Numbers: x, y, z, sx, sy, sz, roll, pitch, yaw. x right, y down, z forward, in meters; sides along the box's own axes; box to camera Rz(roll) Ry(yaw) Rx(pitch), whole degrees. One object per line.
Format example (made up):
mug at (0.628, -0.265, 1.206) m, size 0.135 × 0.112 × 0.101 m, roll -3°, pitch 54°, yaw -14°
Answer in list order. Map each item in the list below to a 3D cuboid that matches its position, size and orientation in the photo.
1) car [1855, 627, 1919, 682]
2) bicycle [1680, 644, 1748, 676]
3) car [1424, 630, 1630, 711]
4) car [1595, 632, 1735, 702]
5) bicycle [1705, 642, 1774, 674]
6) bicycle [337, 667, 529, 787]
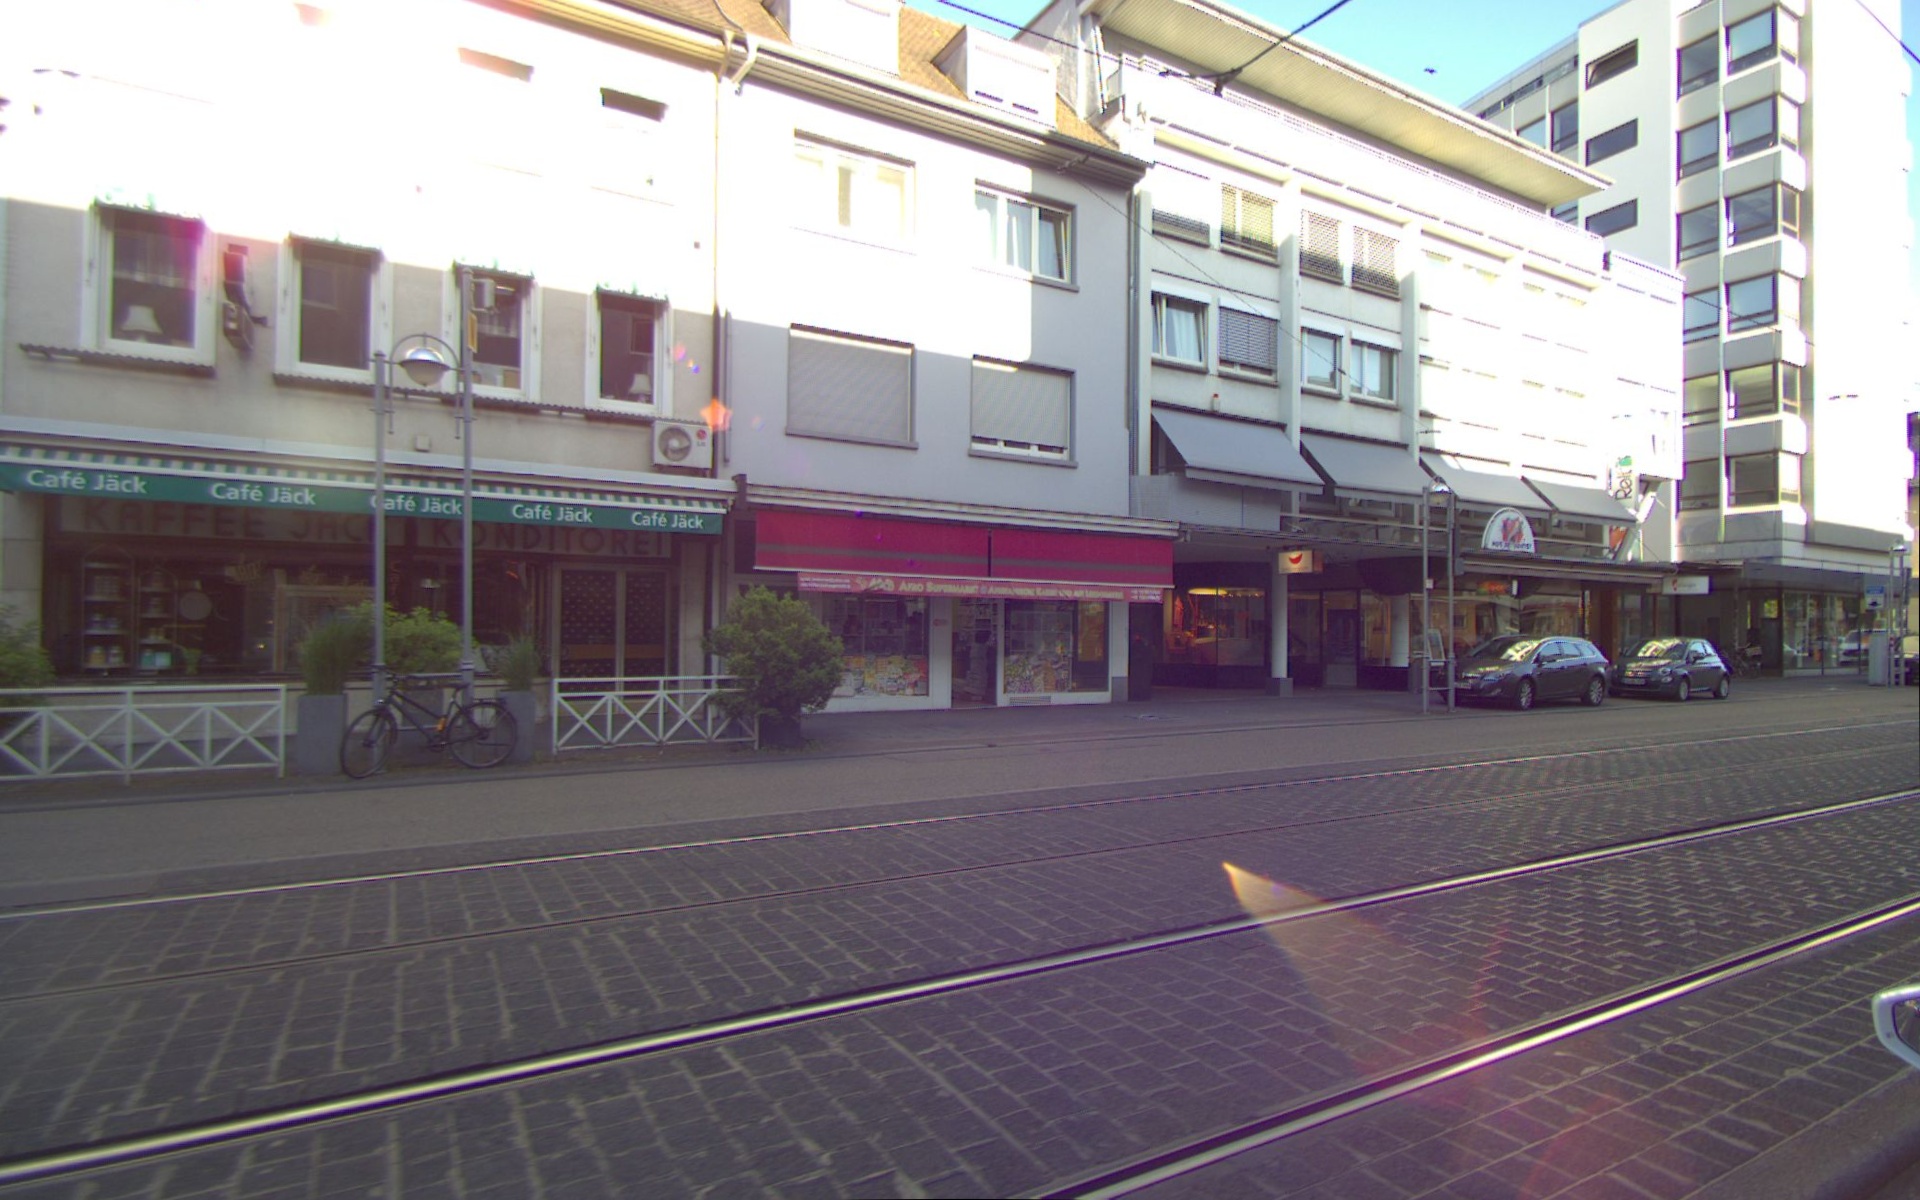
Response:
car at (32.290, 1.827, 33.747) m, size 4.600 × 1.701 × 1.969 m, roll 2°, pitch 0°, yaw -30°
bicycle at (26.968, 2.119, 35.960) m, size 0.376 × 1.012 × 1.928 m, roll 1°, pitch 0°, yaw -28°
car at (12.476, 1.487, 22.019) m, size 4.794 × 1.544 × 1.729 m, roll 2°, pitch 0°, yaw -30°
car at (17.400, 1.602, 24.751) m, size 3.551 × 1.544 × 1.591 m, roll 2°, pitch 0°, yaw -33°
bicycle at (27.665, 2.050, 35.670) m, size 0.418 × 1.012 × 1.928 m, roll 1°, pitch 0°, yaw -28°
bicycle at (-5.394, 1.268, 10.346) m, size 1.696 × 1.105 × 0.516 m, roll 2°, pitch 0°, yaw -30°
